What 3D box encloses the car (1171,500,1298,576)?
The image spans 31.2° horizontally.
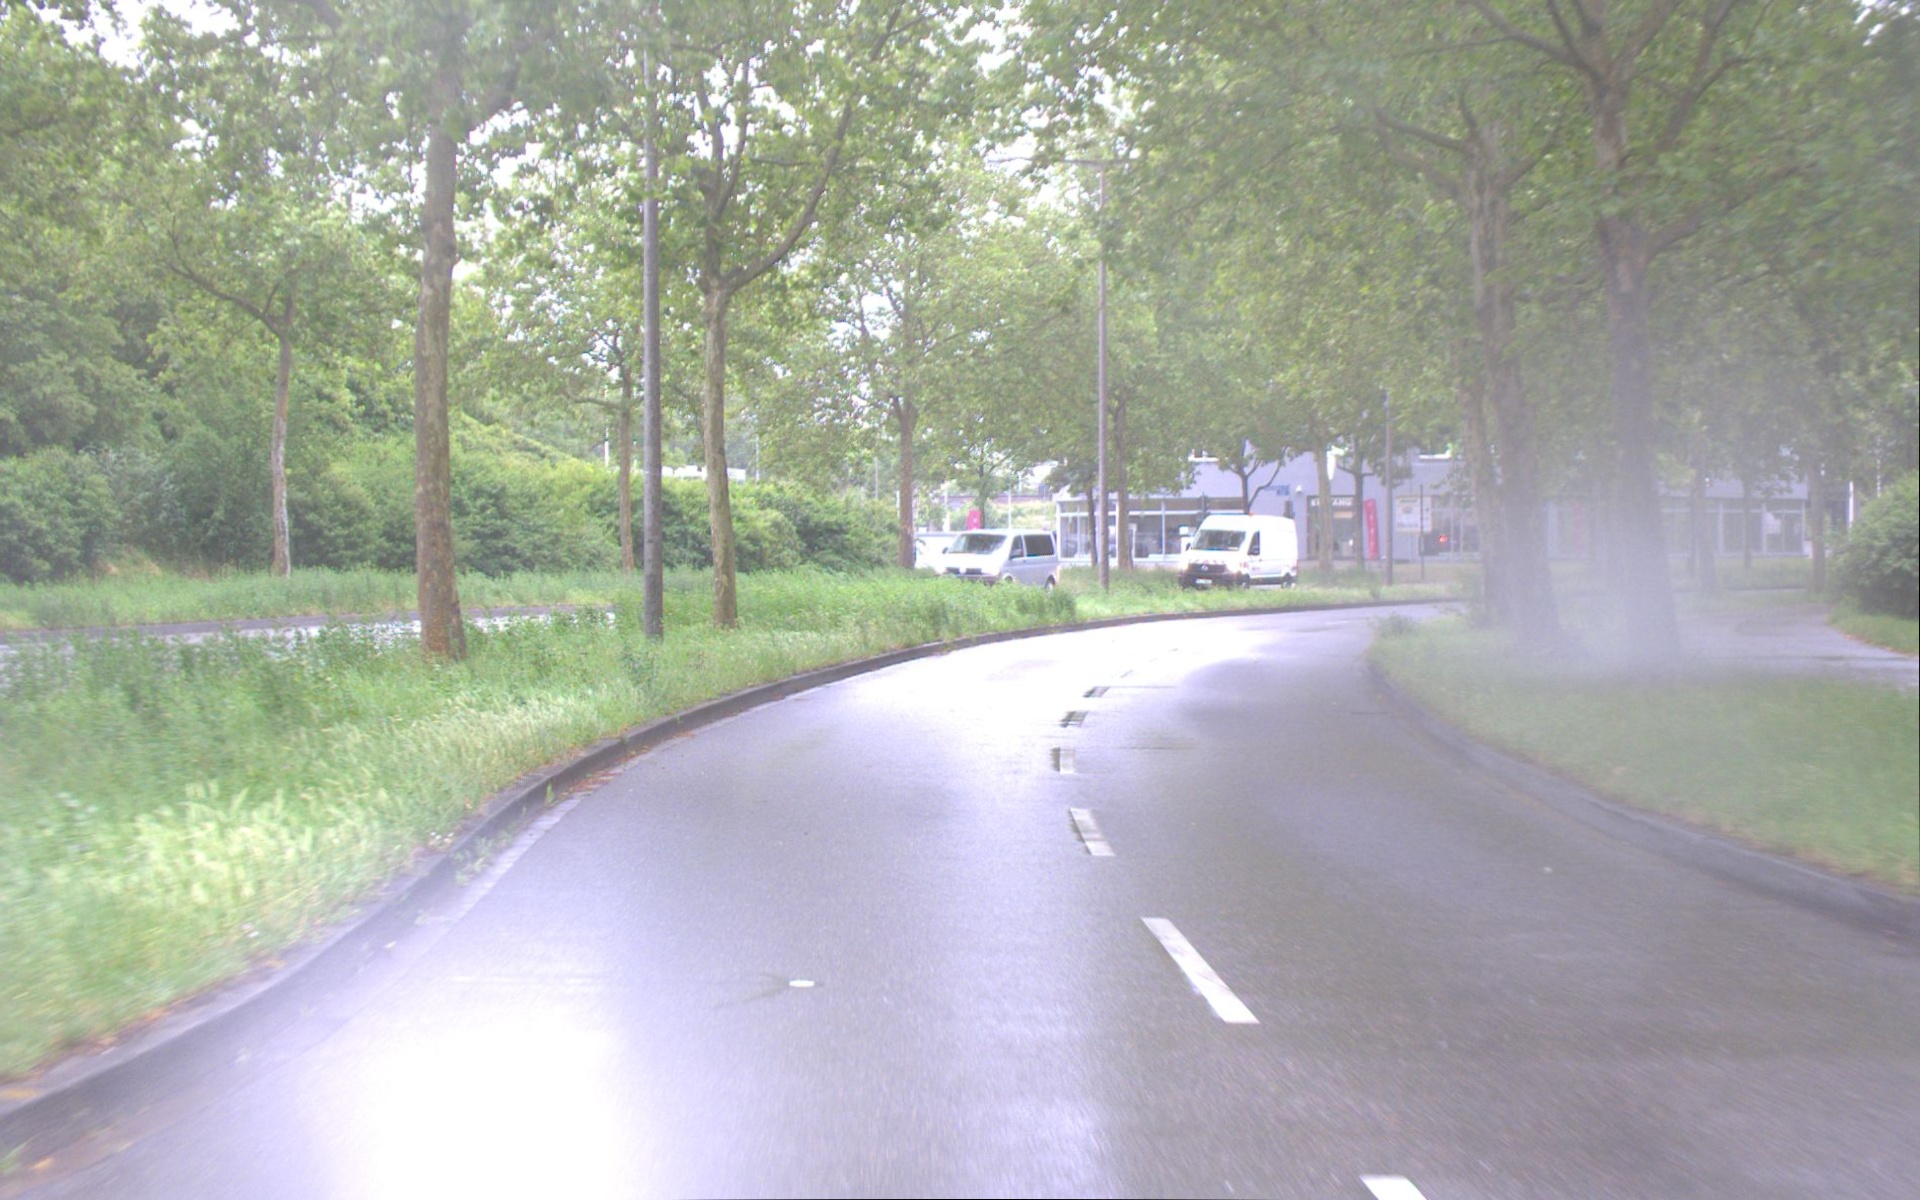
[{"bbox_3d":[8.498,-1.900,105.932,2.285,2.264,5.961,0,1,22],"label":"car"}]

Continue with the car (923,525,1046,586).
[{"bbox_3d":[0.677,-1.169,90.243,1.973,1.558,4.727,0,1,17],"label":"car"}]
